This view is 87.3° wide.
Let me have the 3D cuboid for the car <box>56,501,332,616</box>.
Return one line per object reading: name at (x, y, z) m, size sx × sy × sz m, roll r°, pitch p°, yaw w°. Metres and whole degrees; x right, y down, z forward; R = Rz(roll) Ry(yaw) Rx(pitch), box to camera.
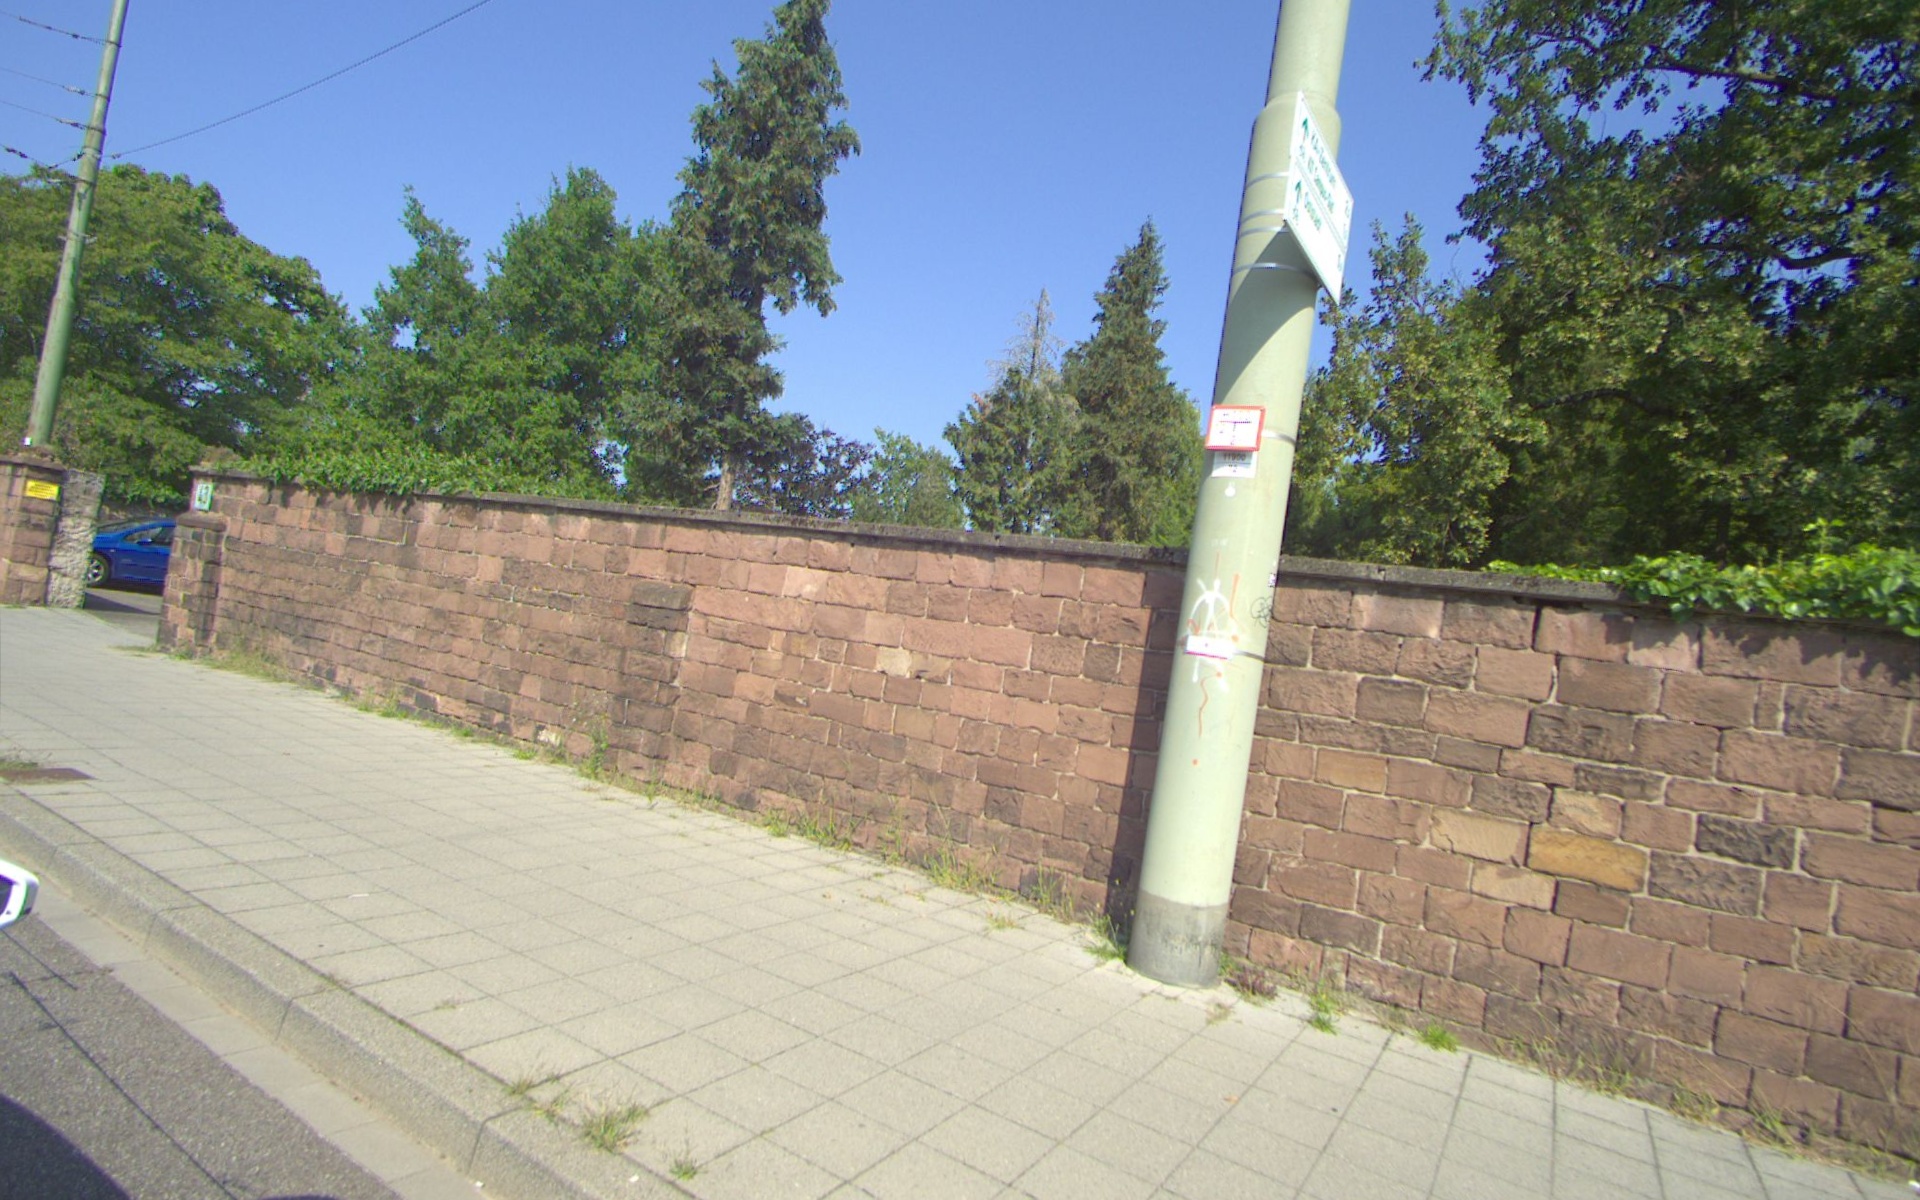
car at (-15.431, -0.778, 20.506) m, size 1.748 × 1.479 × 3.980 m, roll 8°, pitch -4°, yaw 31°
